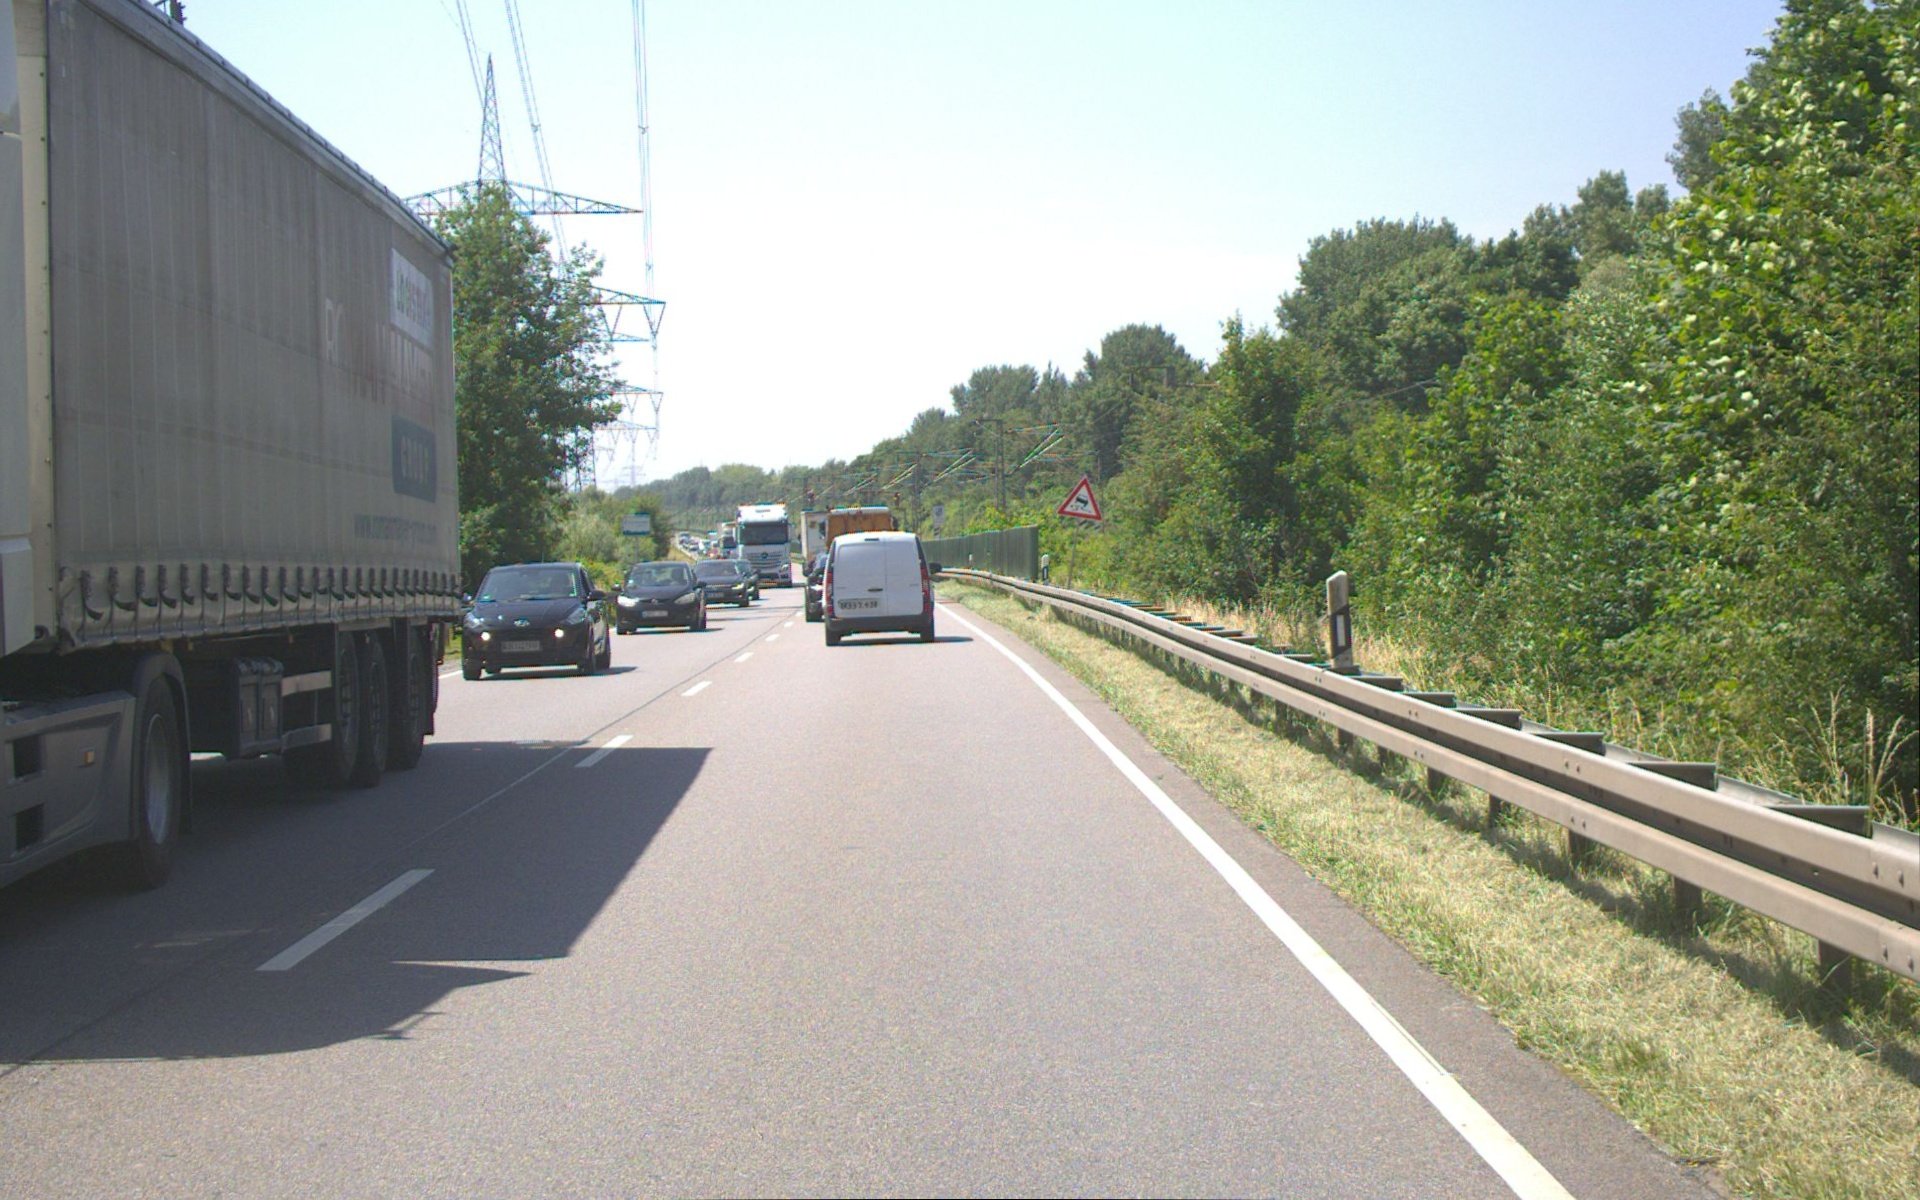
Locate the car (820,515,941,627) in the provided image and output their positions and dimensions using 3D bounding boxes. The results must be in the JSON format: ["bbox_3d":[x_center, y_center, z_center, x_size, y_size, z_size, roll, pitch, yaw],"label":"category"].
[{"bbox_3d":[-1.284,-0.485,55.889,1.875,1.735,4.000,-1,1,-1],"label":"car"}]

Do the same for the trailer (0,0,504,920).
[{"bbox_3d":[-4.994,-0.773,20.806,2.763,3.985,13.687,-1,1,-1],"label":"trailer"}]

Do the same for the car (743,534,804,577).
[{"bbox_3d":[-6.643,-1.600,122.711,1.993,1.449,4.000,-2,1,-1],"label":"car"}]

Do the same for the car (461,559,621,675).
[{"bbox_3d":[-5.540,0.194,45.832,1.634,1.432,4.180,0,1,0],"label":"car"}]

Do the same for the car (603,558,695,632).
[{"bbox_3d":[-6.381,-0.129,70.904,1.633,1.432,4.415,-2,1,-2],"label":"car"}]

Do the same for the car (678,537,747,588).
[{"bbox_3d":[-7.462,-1.154,103.910,1.845,1.492,4.000,-1,1,-1],"label":"car"}]

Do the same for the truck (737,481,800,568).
[{"bbox_3d":[-9.361,-3.688,168.893,2.742,4.028,9.665,-3,1,-2],"label":"truck"}]

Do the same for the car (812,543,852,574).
[{"bbox_3d":[-6.732,-2.193,180.434,1.993,1.521,4.001,-2,1,-2],"label":"car"}]

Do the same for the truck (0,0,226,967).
[{"bbox_3d":[-4.885,-0.661,13.412,2.763,3.985,5.907,-1,1,-1],"label":"truck"}]

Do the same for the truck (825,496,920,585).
[{"bbox_3d":[-3.493,-2.415,133.443,3.296,3.161,14.407,1,2,-3],"label":"truck"}]

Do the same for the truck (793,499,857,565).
[{"bbox_3d":[-8.434,-4.288,212.908,3.402,3.841,16.821,1,2,-4],"label":"truck"}]
